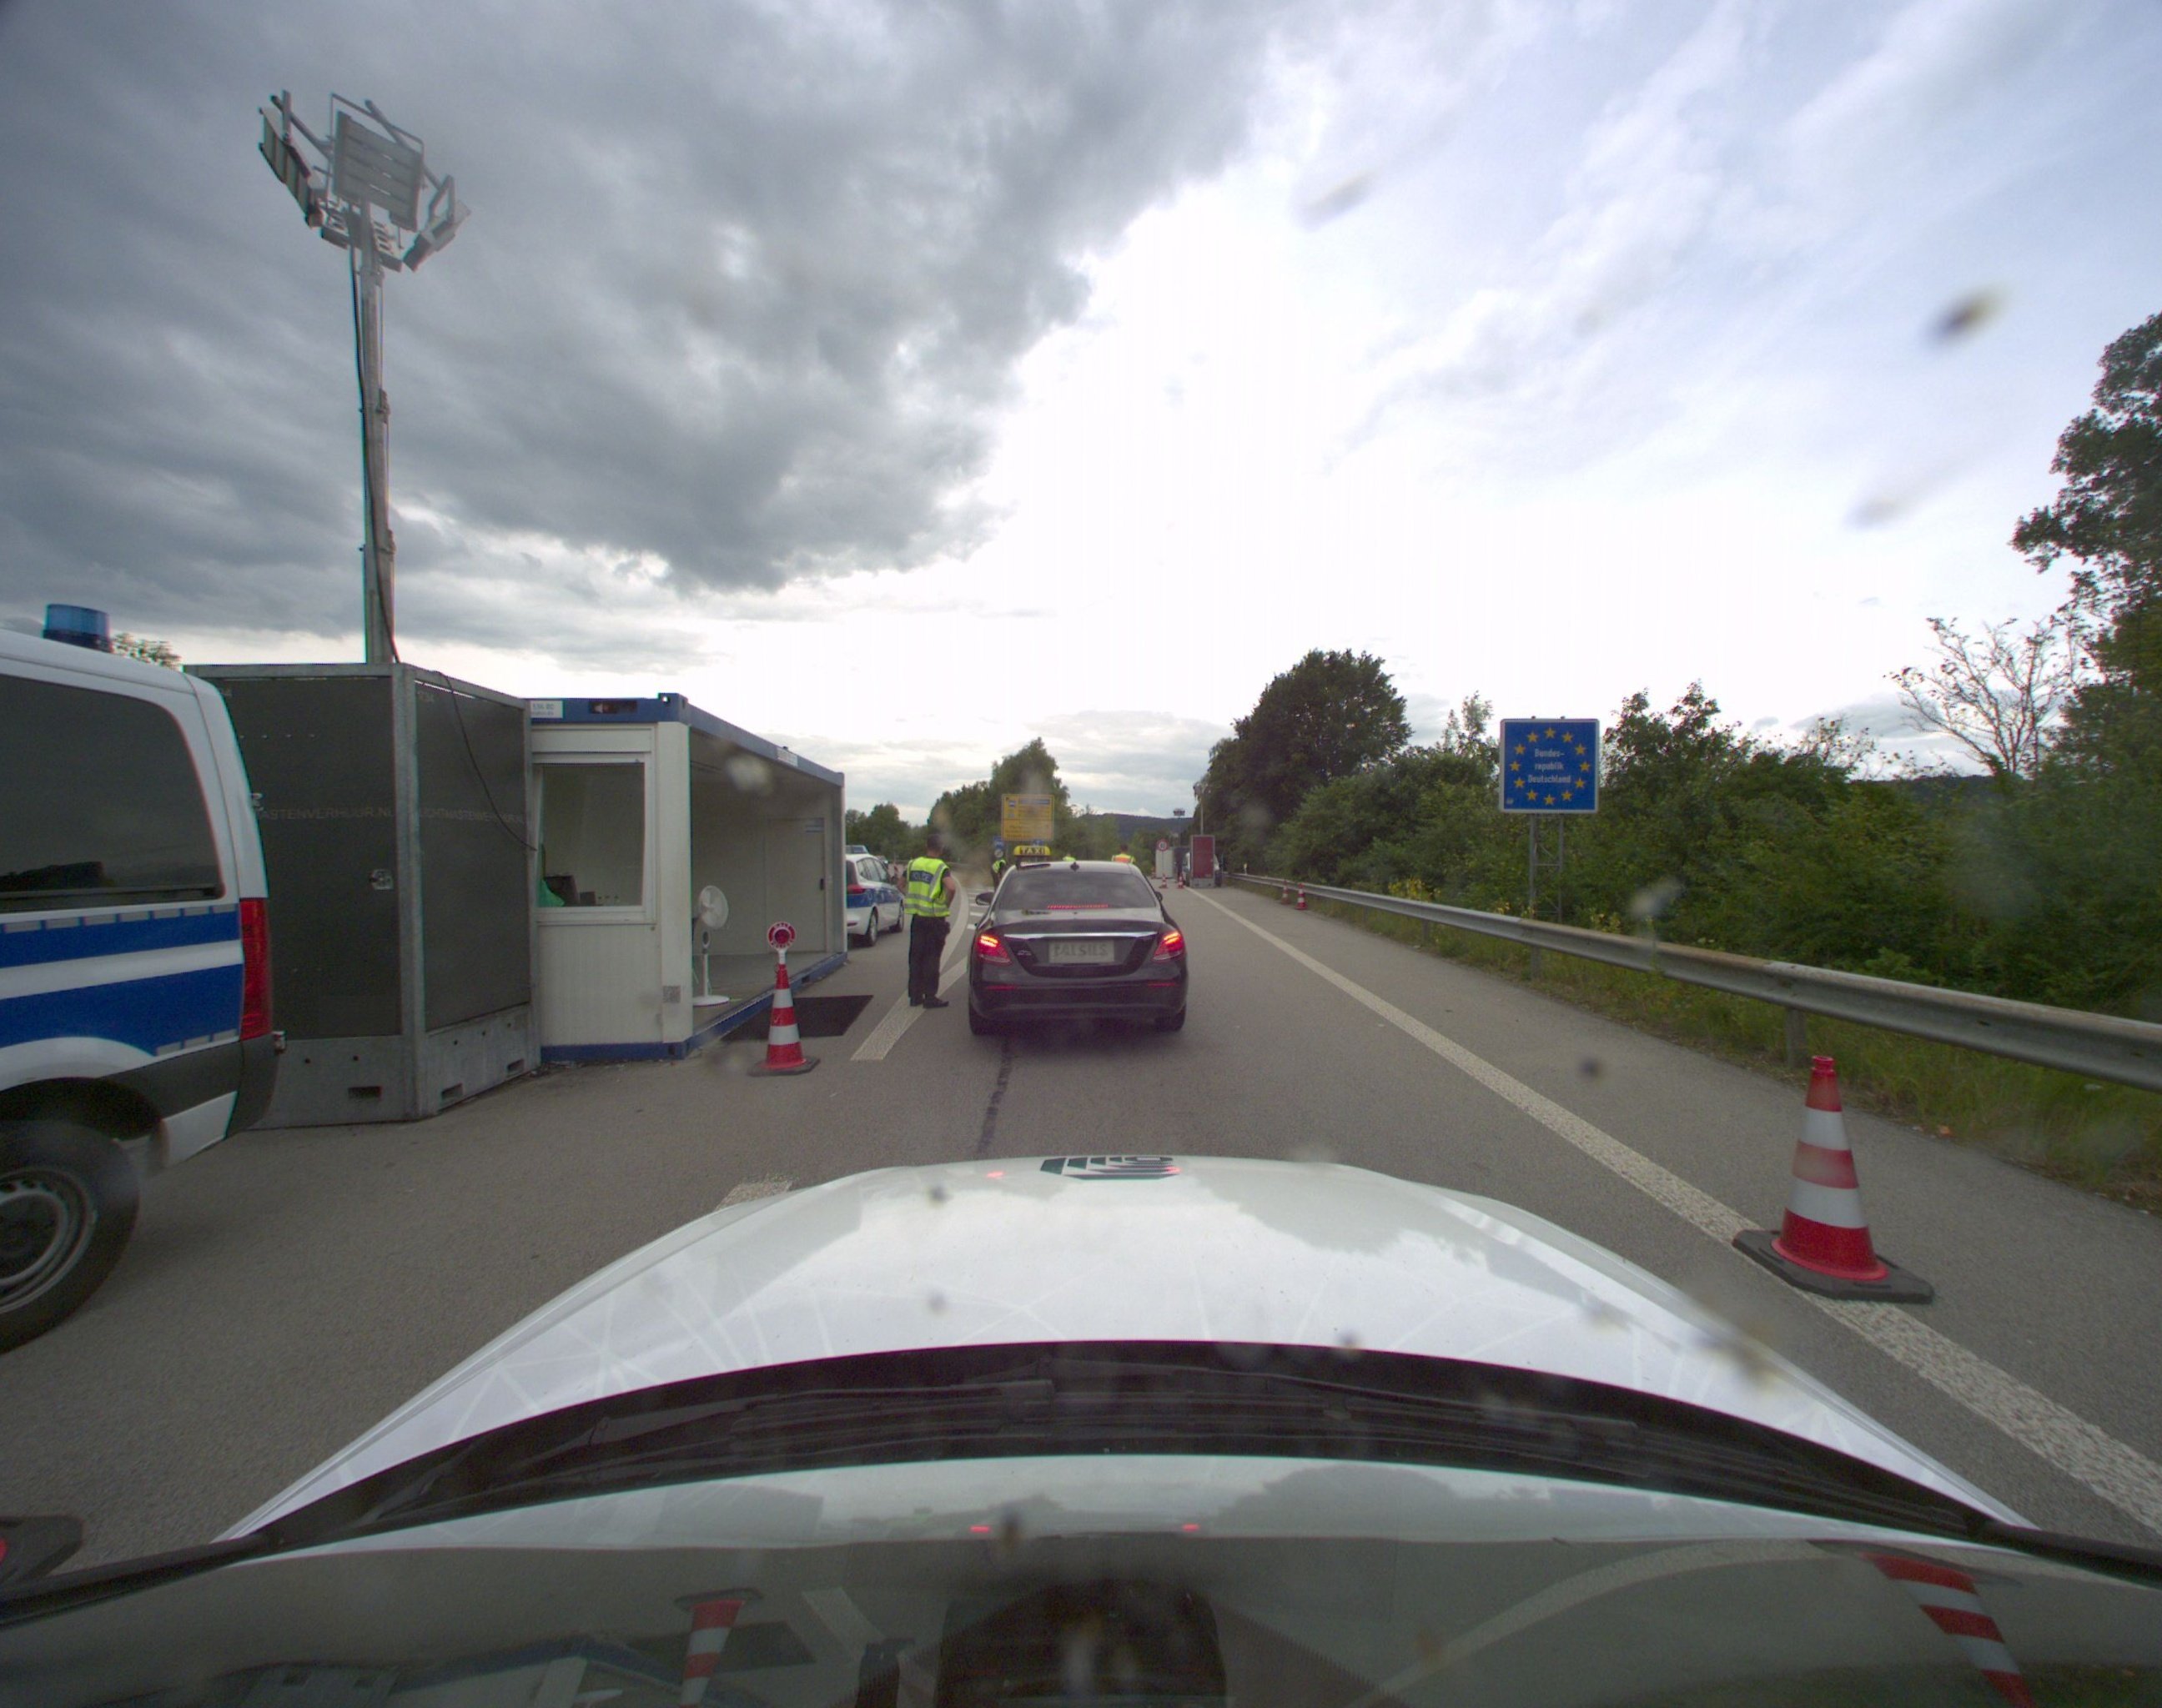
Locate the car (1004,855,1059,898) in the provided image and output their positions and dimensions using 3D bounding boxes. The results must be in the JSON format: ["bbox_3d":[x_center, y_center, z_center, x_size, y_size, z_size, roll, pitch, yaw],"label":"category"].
[{"bbox_3d":[-1.816,0.801,30.996,1.850,1.498,4.255,-1,0,-1],"label":"car"}]

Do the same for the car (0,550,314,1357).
[{"bbox_3d":[-4.272,0.308,0.841,2.023,2.463,5.276,-1,0,-2],"label":"car"}]

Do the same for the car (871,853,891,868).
[{"bbox_3d":[-20.826,0.676,84.845,1.857,1.498,4.238,-1,0,-13],"label":"car"}]

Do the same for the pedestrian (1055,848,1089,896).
[{"bbox_3d":[-0.326,0.647,29.724,0.914,1.698,0.905,0,-1,-30],"label":"pedestrian"}]

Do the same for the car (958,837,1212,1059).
[{"bbox_3d":[-0.064,0.688,8.169,1.851,1.595,4.371,-1,0,-3],"label":"car"}]

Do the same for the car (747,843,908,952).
[{"bbox_3d":[-4.544,0.713,15.255,1.864,1.743,4.005,-1,0,-2],"label":"car"}]

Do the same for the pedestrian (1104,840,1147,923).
[{"bbox_3d":[1.021,0.618,18.572,0.806,1.830,0.813,-1,-1,14],"label":"pedestrian"}]

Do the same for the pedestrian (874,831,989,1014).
[{"bbox_3d":[-1.505,0.646,8.213,0.752,1.718,0.823,-2,-1,39],"label":"pedestrian"}]

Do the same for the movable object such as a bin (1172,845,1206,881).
[{"bbox_3d":[7.190,0.569,54.653,1.984,2.280,4.172,-1,0,4],"label":"movable object such as a bin"}]

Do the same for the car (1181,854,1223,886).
[{"bbox_3d":[6.748,0.848,45.812,1.908,1.678,5.087,1,0,3],"label":"car"}]

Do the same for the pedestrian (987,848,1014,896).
[{"bbox_3d":[-3.053,0.679,30.891,0.908,1.769,0.911,-1,0,-1],"label":"pedestrian"}]

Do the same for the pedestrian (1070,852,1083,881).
[{"bbox_3d":[-0.283,0.828,54.333,0.659,1.961,0.763,-1,-1,17],"label":"pedestrian"}]
